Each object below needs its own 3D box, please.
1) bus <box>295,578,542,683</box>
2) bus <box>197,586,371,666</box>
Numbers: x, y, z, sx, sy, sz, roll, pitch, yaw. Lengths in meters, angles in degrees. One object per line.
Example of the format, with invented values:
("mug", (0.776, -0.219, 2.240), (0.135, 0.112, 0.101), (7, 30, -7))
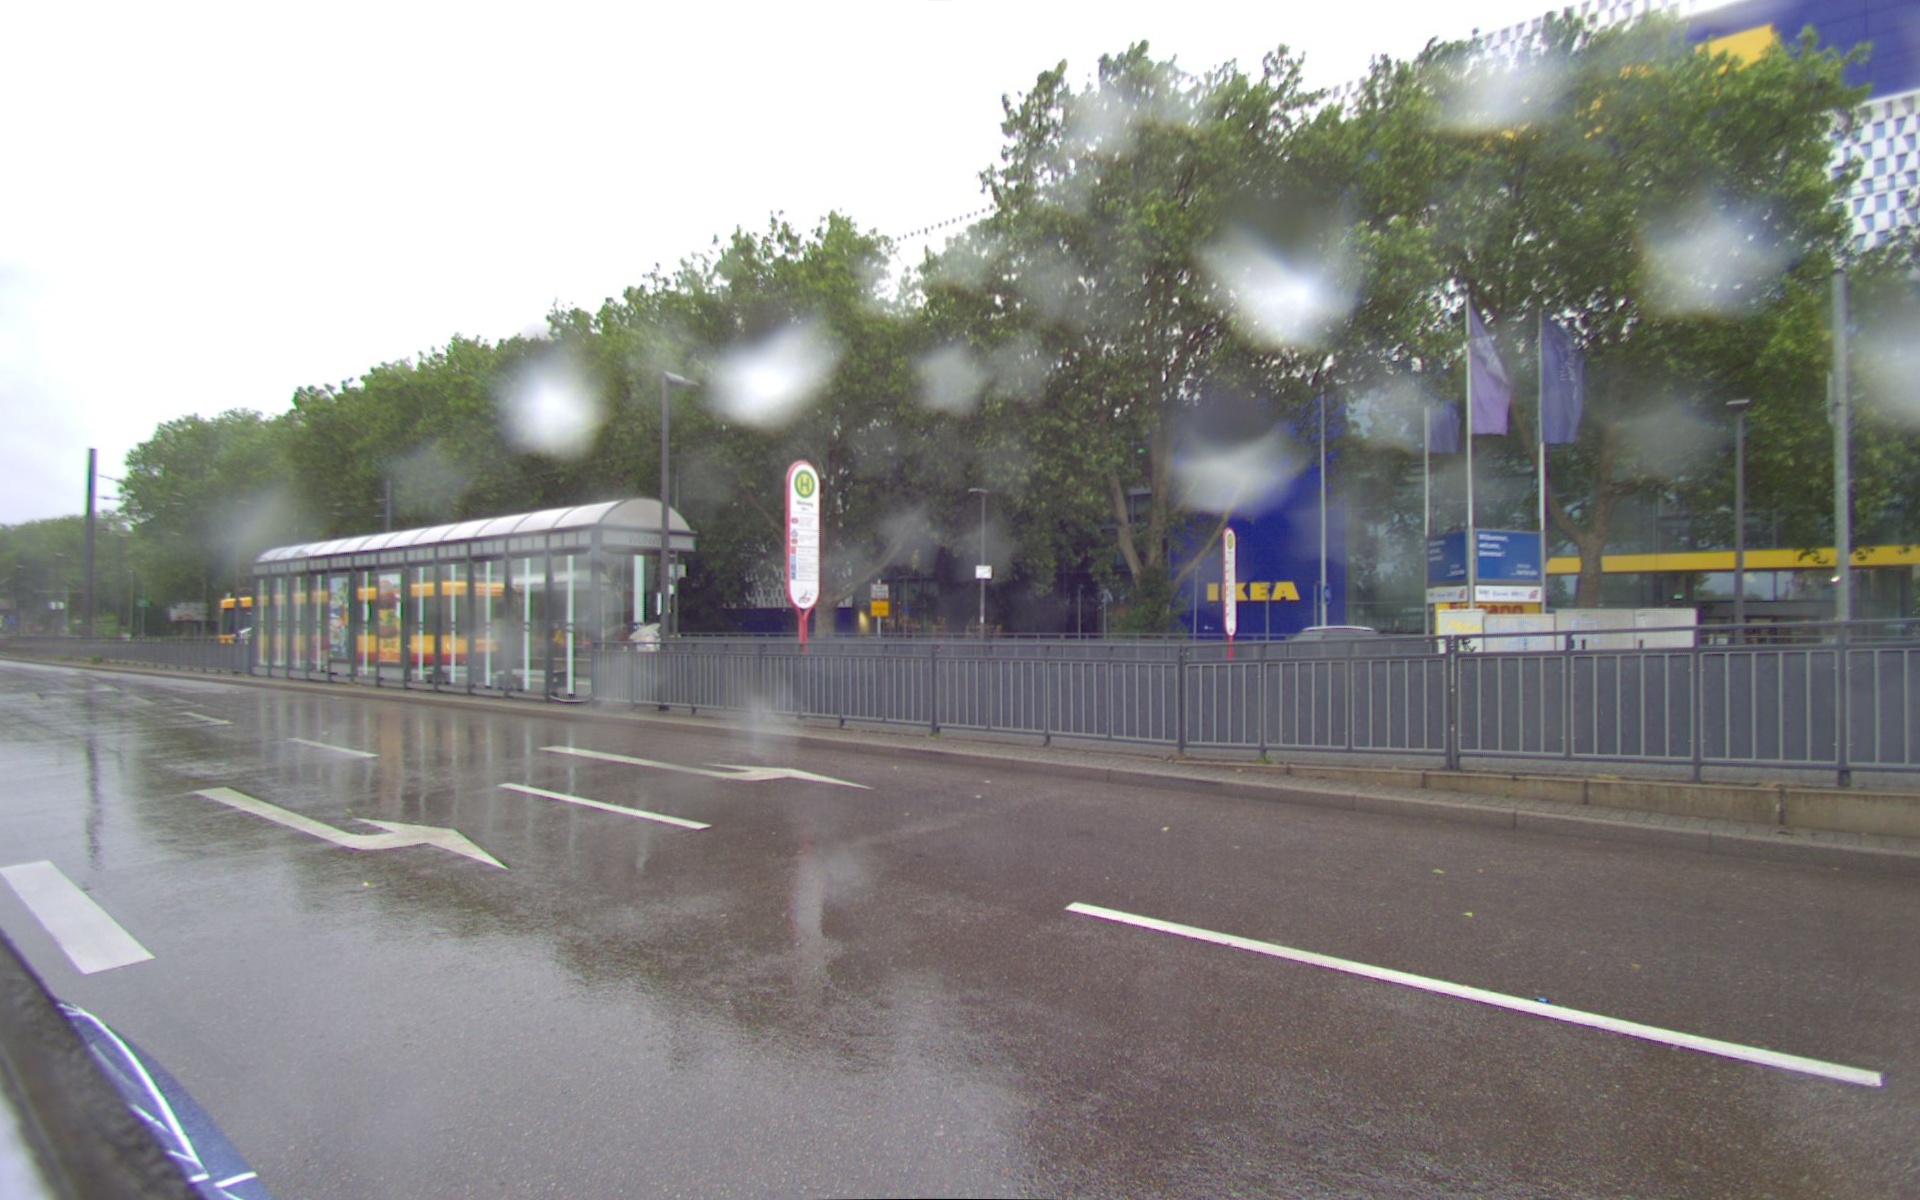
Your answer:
("bus", (-20.915, 1.023, 38.221), (15.052, 3.354, 2.901), (-1, 0, 40))
("bus", (-32.401, 1.143, 48.027), (15.053, 3.354, 2.901), (-1, 0, 41))
